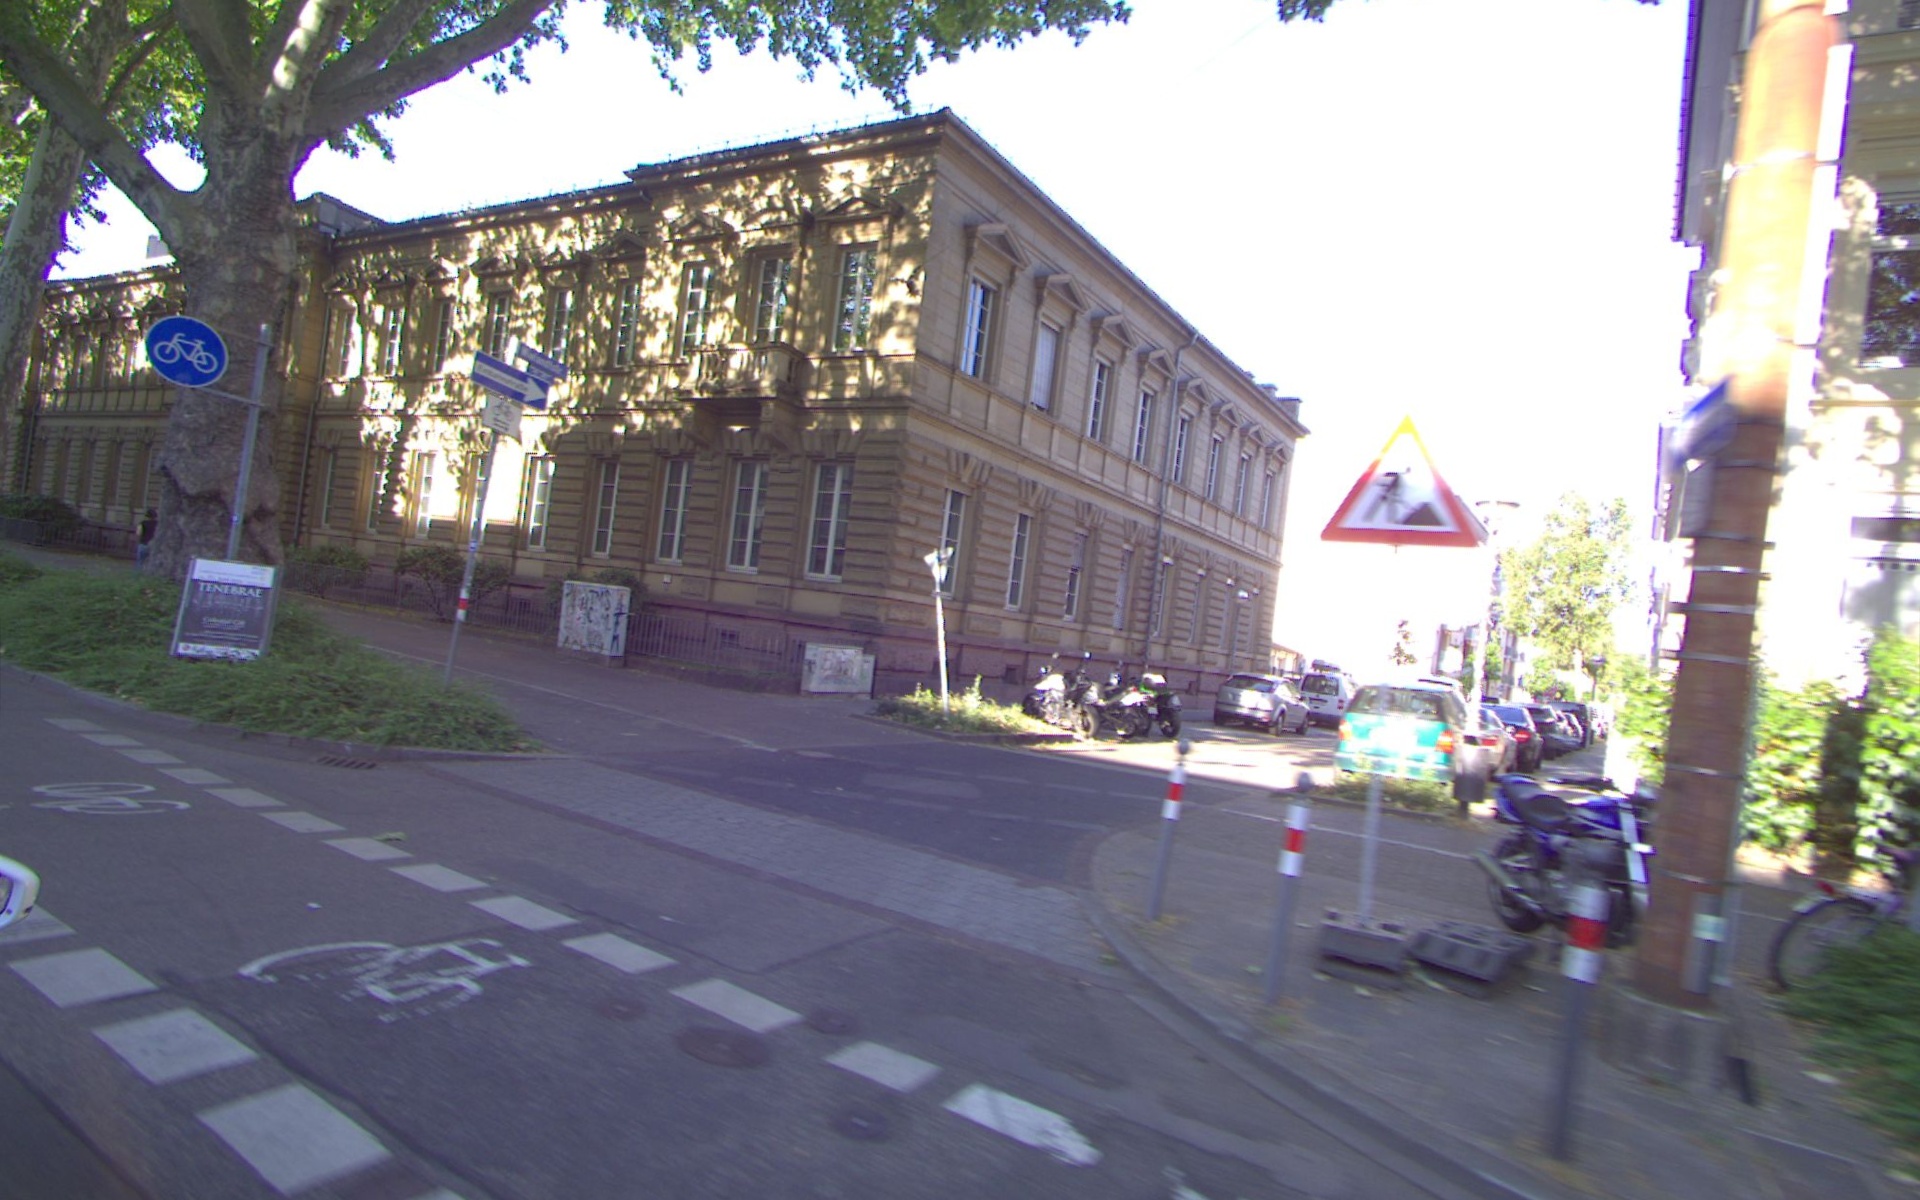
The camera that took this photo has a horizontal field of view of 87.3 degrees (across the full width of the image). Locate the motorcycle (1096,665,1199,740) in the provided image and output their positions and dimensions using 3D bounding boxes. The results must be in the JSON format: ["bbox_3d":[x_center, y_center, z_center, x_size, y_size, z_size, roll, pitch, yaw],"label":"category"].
[{"bbox_3d":[3.862,2.104,20.911,0.493,1.311,2.159,9,-4,-40],"label":"motorcycle"}]

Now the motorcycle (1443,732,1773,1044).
[{"bbox_3d":[3.561,1.488,5.804,0.466,1.241,2.174,7,-3,3],"label":"motorcycle"}]

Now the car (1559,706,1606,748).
[{"bbox_3d":[30.948,6.304,50.002,1.606,1.844,3.699,4,-3,36],"label":"car"}]

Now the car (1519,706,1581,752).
[{"bbox_3d":[22.313,4.862,37.992,1.606,1.447,3.699,4,-4,36],"label":"car"}]

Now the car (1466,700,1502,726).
[{"bbox_3d":[35.681,7.700,68.419,1.606,1.568,3.474,4,-4,36],"label":"car"}]

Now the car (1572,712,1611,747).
[{"bbox_3d":[37.161,7.610,59.179,1.606,1.844,3.699,4,-3,36],"label":"car"}]

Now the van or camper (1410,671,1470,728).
[{"bbox_3d":[23.751,4.950,49.675,1.851,2.547,4.423,4,-3,35],"label":"van or camper"}]

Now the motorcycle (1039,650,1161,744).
[{"bbox_3d":[2.621,1.814,19.122,0.567,1.448,2.258,9,-1,-44],"label":"motorcycle"}]

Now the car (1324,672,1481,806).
[{"bbox_3d":[6.594,1.960,14.794,1.604,1.607,3.477,2,-4,32],"label":"car"}]

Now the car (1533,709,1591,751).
[{"bbox_3d":[24.715,5.323,41.250,1.606,1.447,3.699,4,-4,36],"label":"car"}]

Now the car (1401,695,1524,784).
[{"bbox_3d":[9.647,2.614,19.175,1.605,1.340,3.661,4,-4,33],"label":"car"}]

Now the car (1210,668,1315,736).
[{"bbox_3d":[8.220,2.768,27.163,1.606,1.568,3.474,4,-4,36],"label":"car"}]

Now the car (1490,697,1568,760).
[{"bbox_3d":[17.719,3.976,31.261,1.606,1.668,3.699,4,-4,36],"label":"car"}]

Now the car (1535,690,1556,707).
[{"bbox_3d":[64.483,10.841,110.749,1.606,1.568,3.474,4,-4,36],"label":"car"}]

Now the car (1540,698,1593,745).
[{"bbox_3d":[27.044,5.404,44.803,1.606,1.844,3.699,4,-3,36],"label":"car"}]

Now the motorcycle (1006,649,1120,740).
[{"bbox_3d":[1.841,1.695,18.318,0.493,1.311,2.158,9,-1,-40],"label":"motorcycle"}]

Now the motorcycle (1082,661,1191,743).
[{"bbox_3d":[3.429,1.980,19.778,0.493,1.311,2.158,9,-2,-40],"label":"motorcycle"}]

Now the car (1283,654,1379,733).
[{"bbox_3d":[12.828,3.240,34.591,1.927,2.375,4.364,4,-3,35],"label":"car"}]

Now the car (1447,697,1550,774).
[{"bbox_3d":[12.449,3.075,23.153,1.631,1.429,4.079,4,-4,34],"label":"car"}]

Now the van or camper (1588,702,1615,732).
[{"bbox_3d":[55.459,10.130,86.899,1.606,2.301,4.779,4,-3,35],"label":"van or camper"}]

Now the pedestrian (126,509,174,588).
[{"bbox_3d":[-18.062,-1.142,22.429,0.645,1.651,0.862,9,-2,-40],"label":"pedestrian"}]
